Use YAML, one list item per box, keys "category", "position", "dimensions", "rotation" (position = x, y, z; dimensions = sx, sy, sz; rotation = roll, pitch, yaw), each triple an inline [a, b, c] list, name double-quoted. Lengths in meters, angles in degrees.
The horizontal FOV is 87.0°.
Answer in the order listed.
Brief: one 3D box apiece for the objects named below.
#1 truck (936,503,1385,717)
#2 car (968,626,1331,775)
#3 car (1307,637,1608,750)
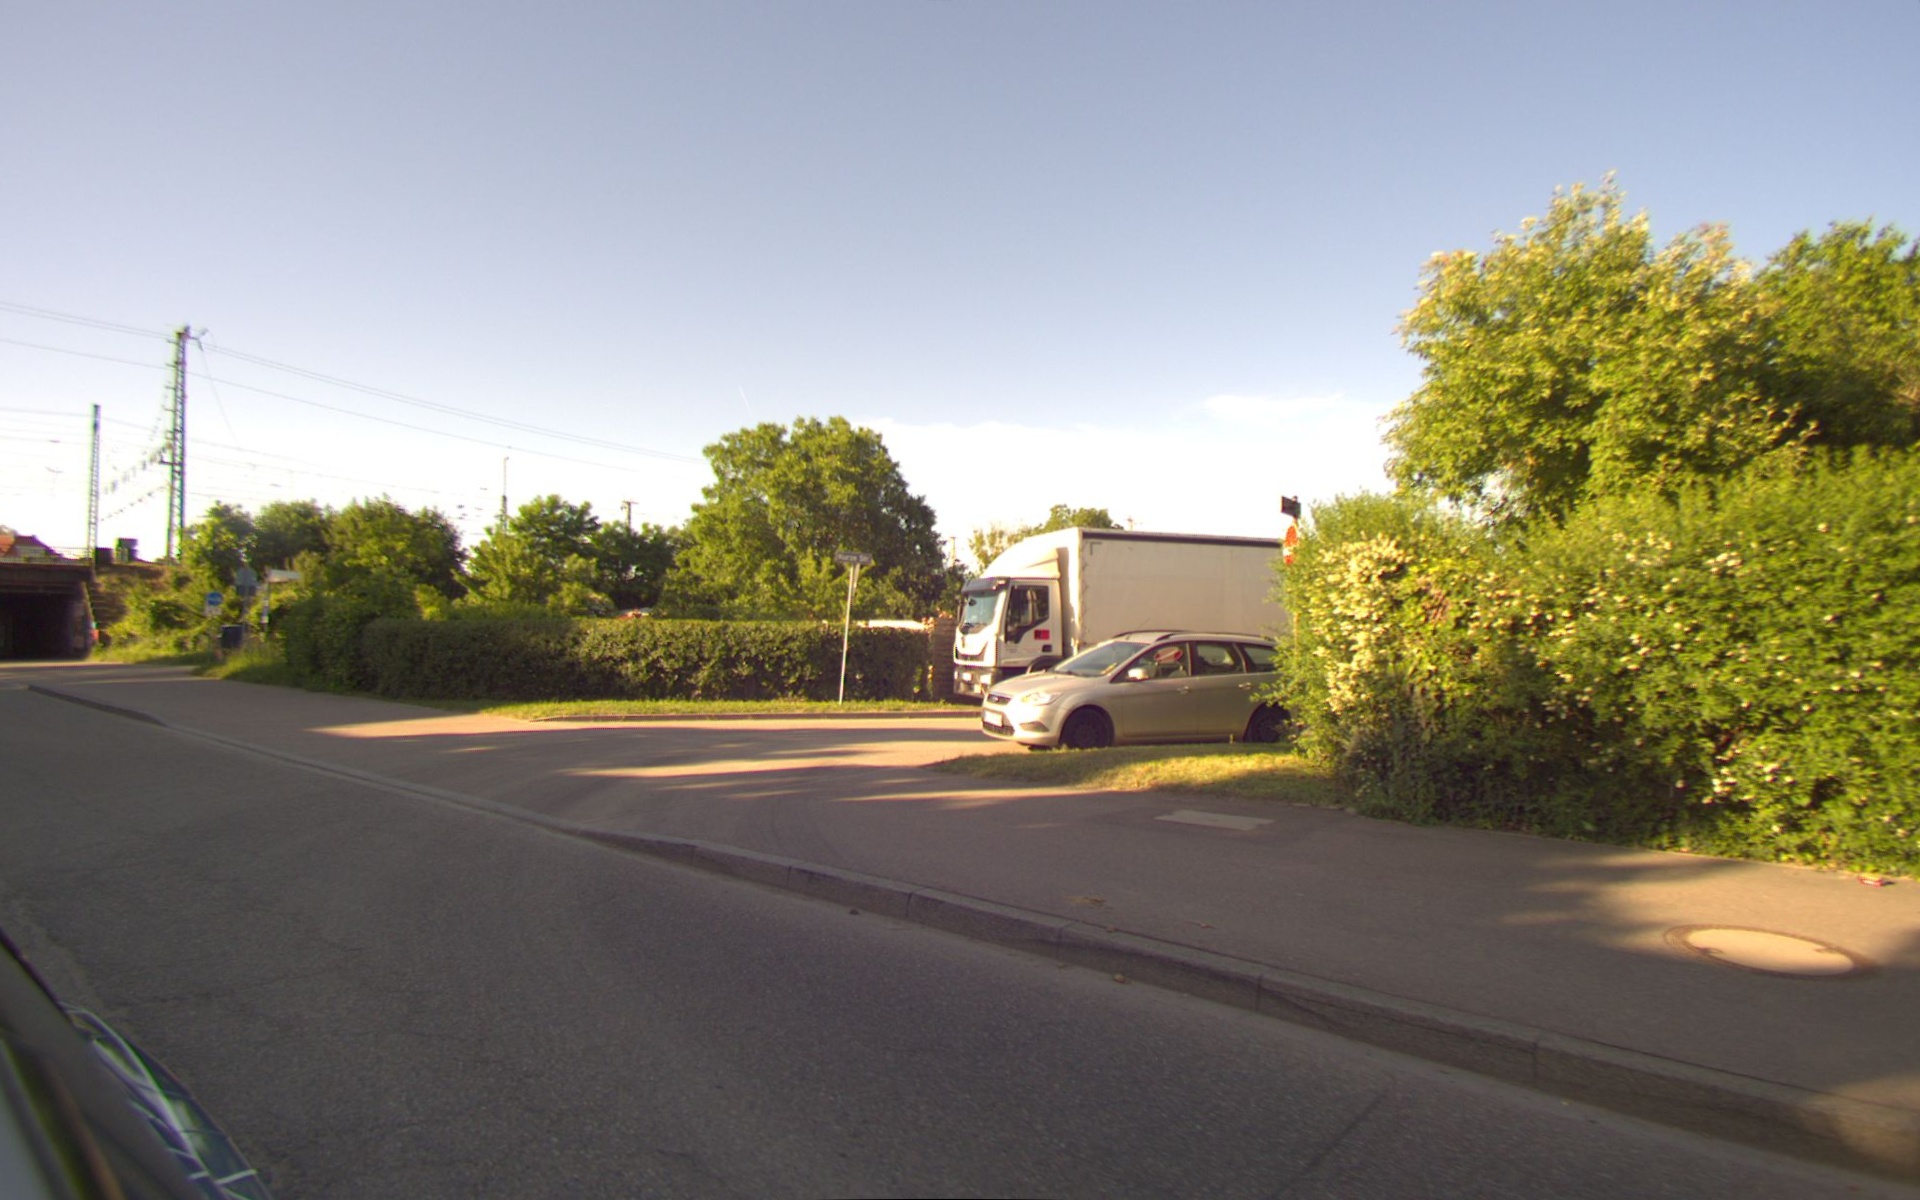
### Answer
- category: "truck"
  position: [4.299, 0.222, 21.332]
  dimensions: [9.173, 3.912, 2.720]
  rotation: [0, -1, -20]
- category: "car"
  position: [2.398, 1.157, 12.859]
  dimensions: [4.151, 1.501, 1.883]
  rotation: [-1, 0, -22]
- category: "car"
  position: [7.352, 1.333, 14.938]
  dimensions: [4.132, 1.447, 1.649]
  rotation: [2, -1, -22]
